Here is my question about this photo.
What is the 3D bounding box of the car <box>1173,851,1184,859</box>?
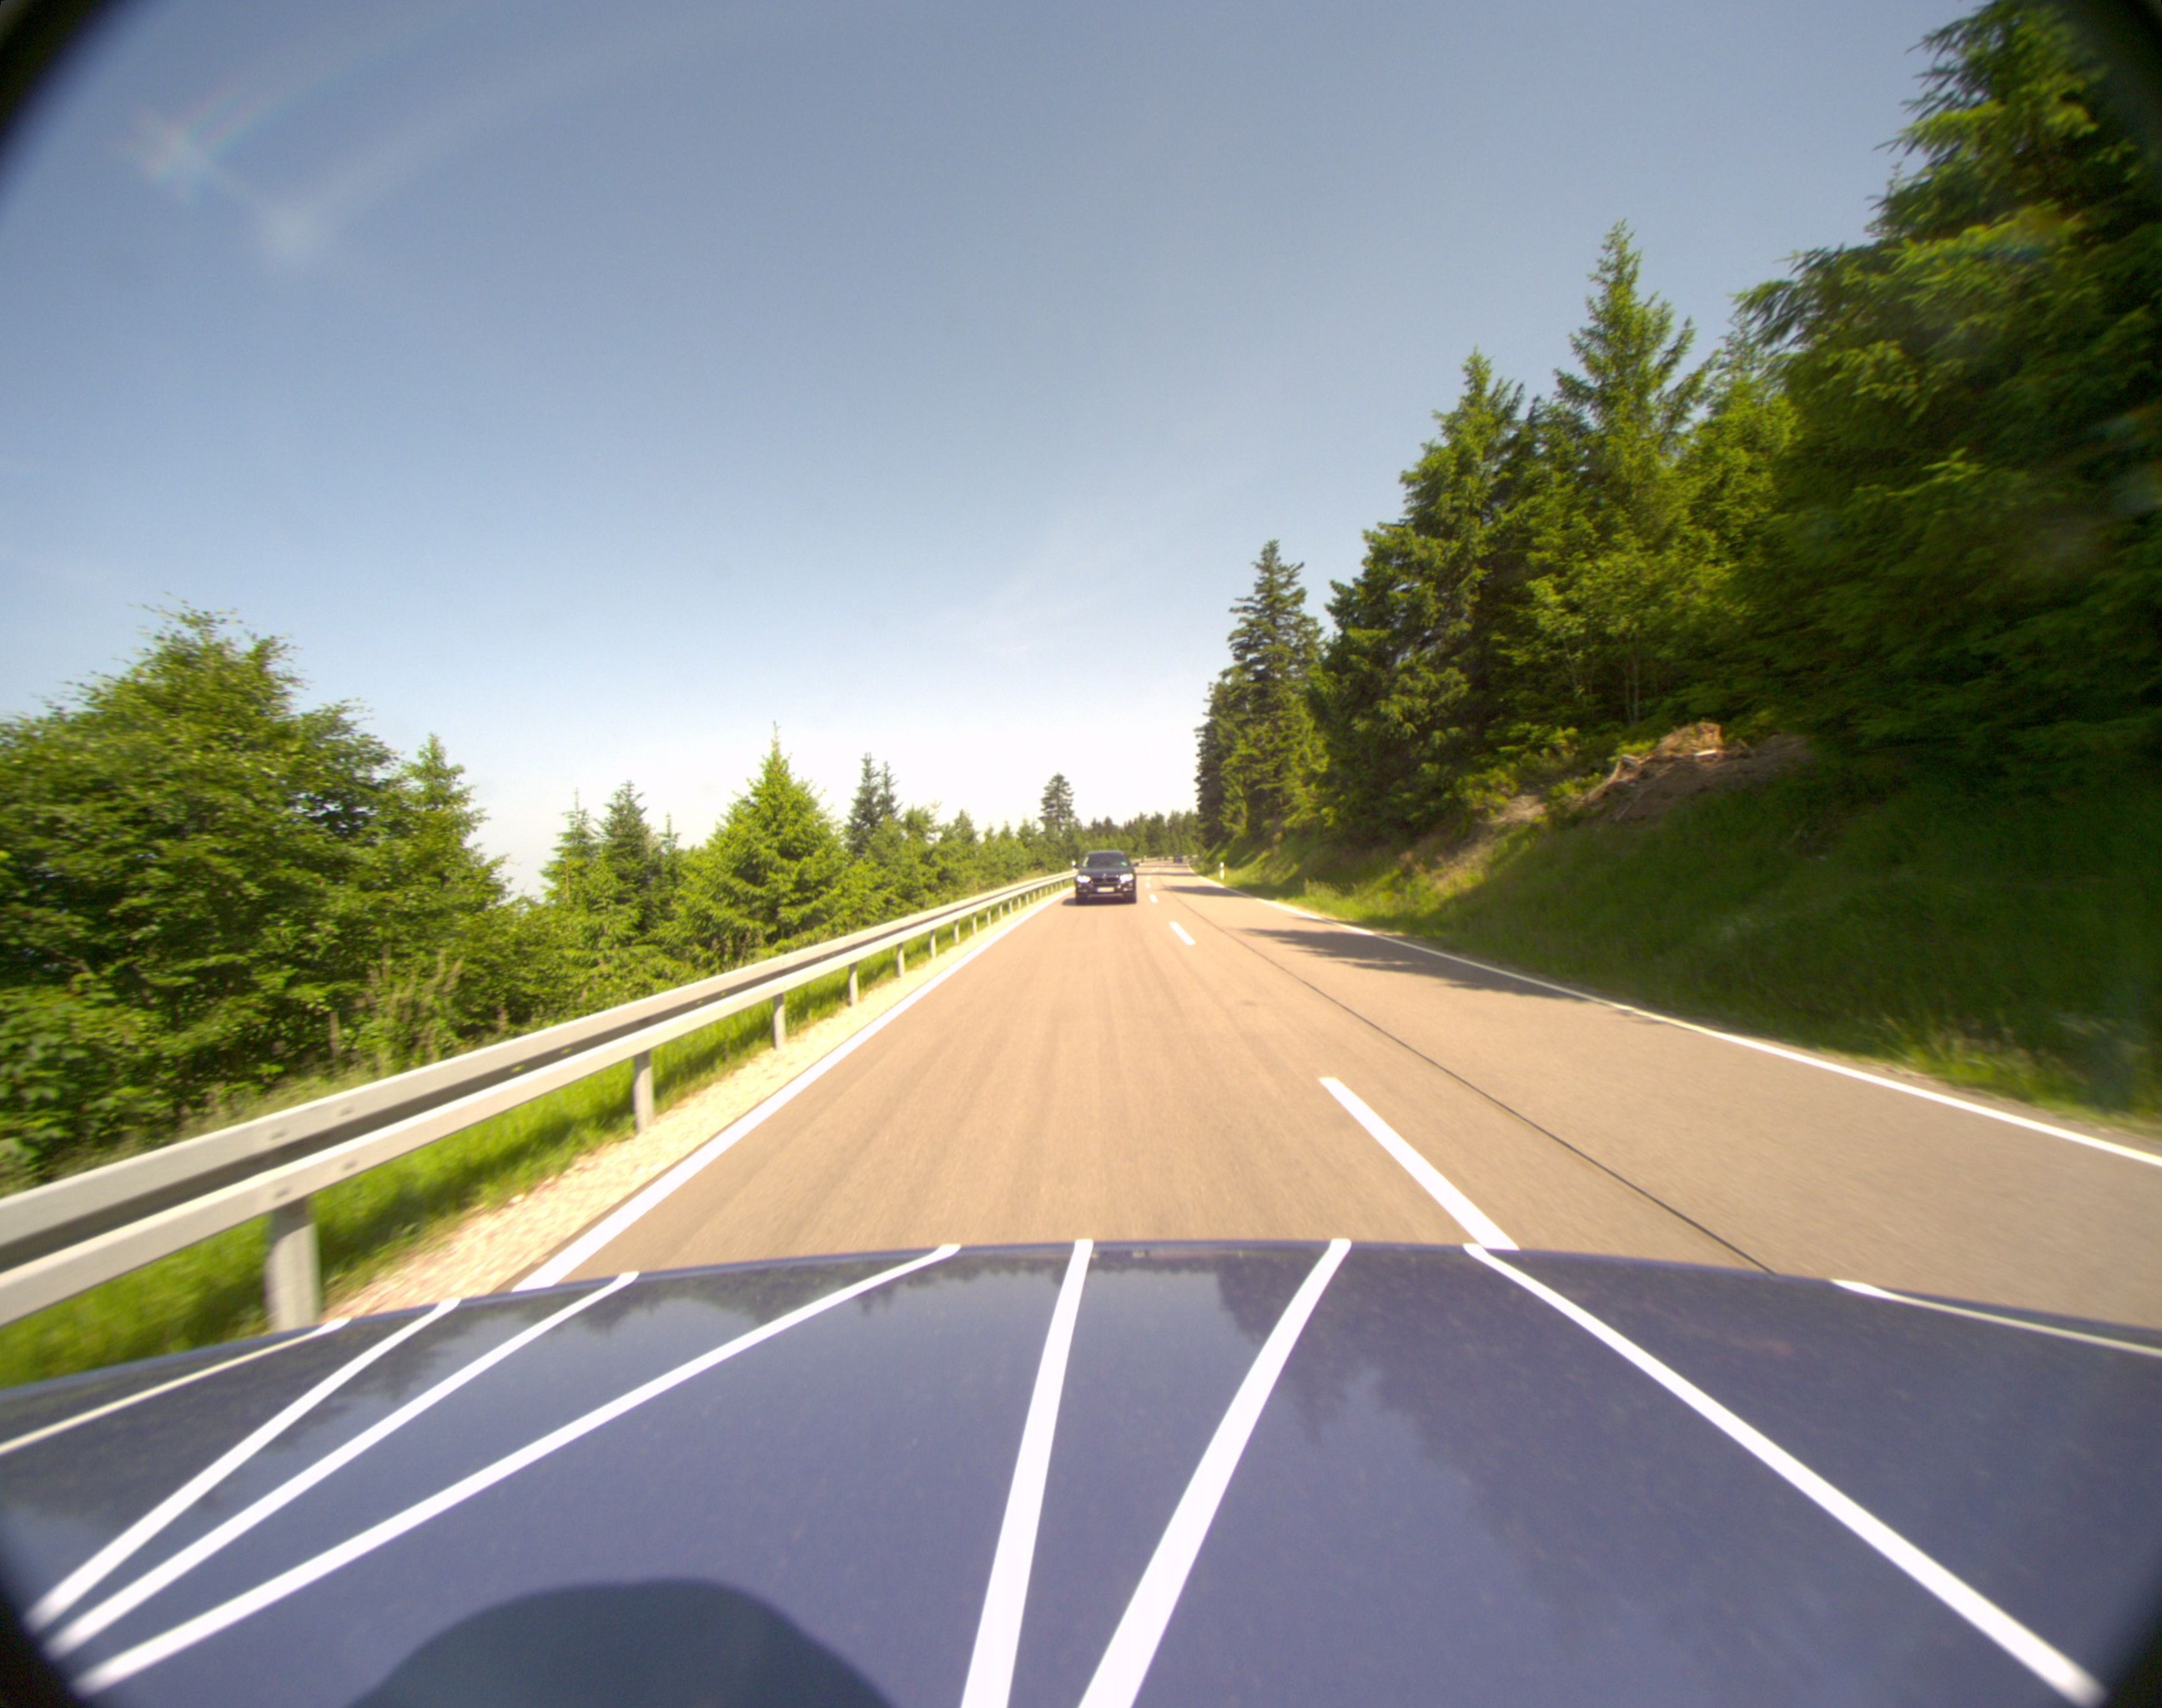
[{"bbox_3d":[17.099,0.207,133.508,1.688,1.406,3.263,0,0,5],"label":"car"}]

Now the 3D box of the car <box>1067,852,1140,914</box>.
[{"bbox_3d":[0.836,0.789,24.049,1.998,1.676,5.938,-1,0,4],"label":"car"}]
